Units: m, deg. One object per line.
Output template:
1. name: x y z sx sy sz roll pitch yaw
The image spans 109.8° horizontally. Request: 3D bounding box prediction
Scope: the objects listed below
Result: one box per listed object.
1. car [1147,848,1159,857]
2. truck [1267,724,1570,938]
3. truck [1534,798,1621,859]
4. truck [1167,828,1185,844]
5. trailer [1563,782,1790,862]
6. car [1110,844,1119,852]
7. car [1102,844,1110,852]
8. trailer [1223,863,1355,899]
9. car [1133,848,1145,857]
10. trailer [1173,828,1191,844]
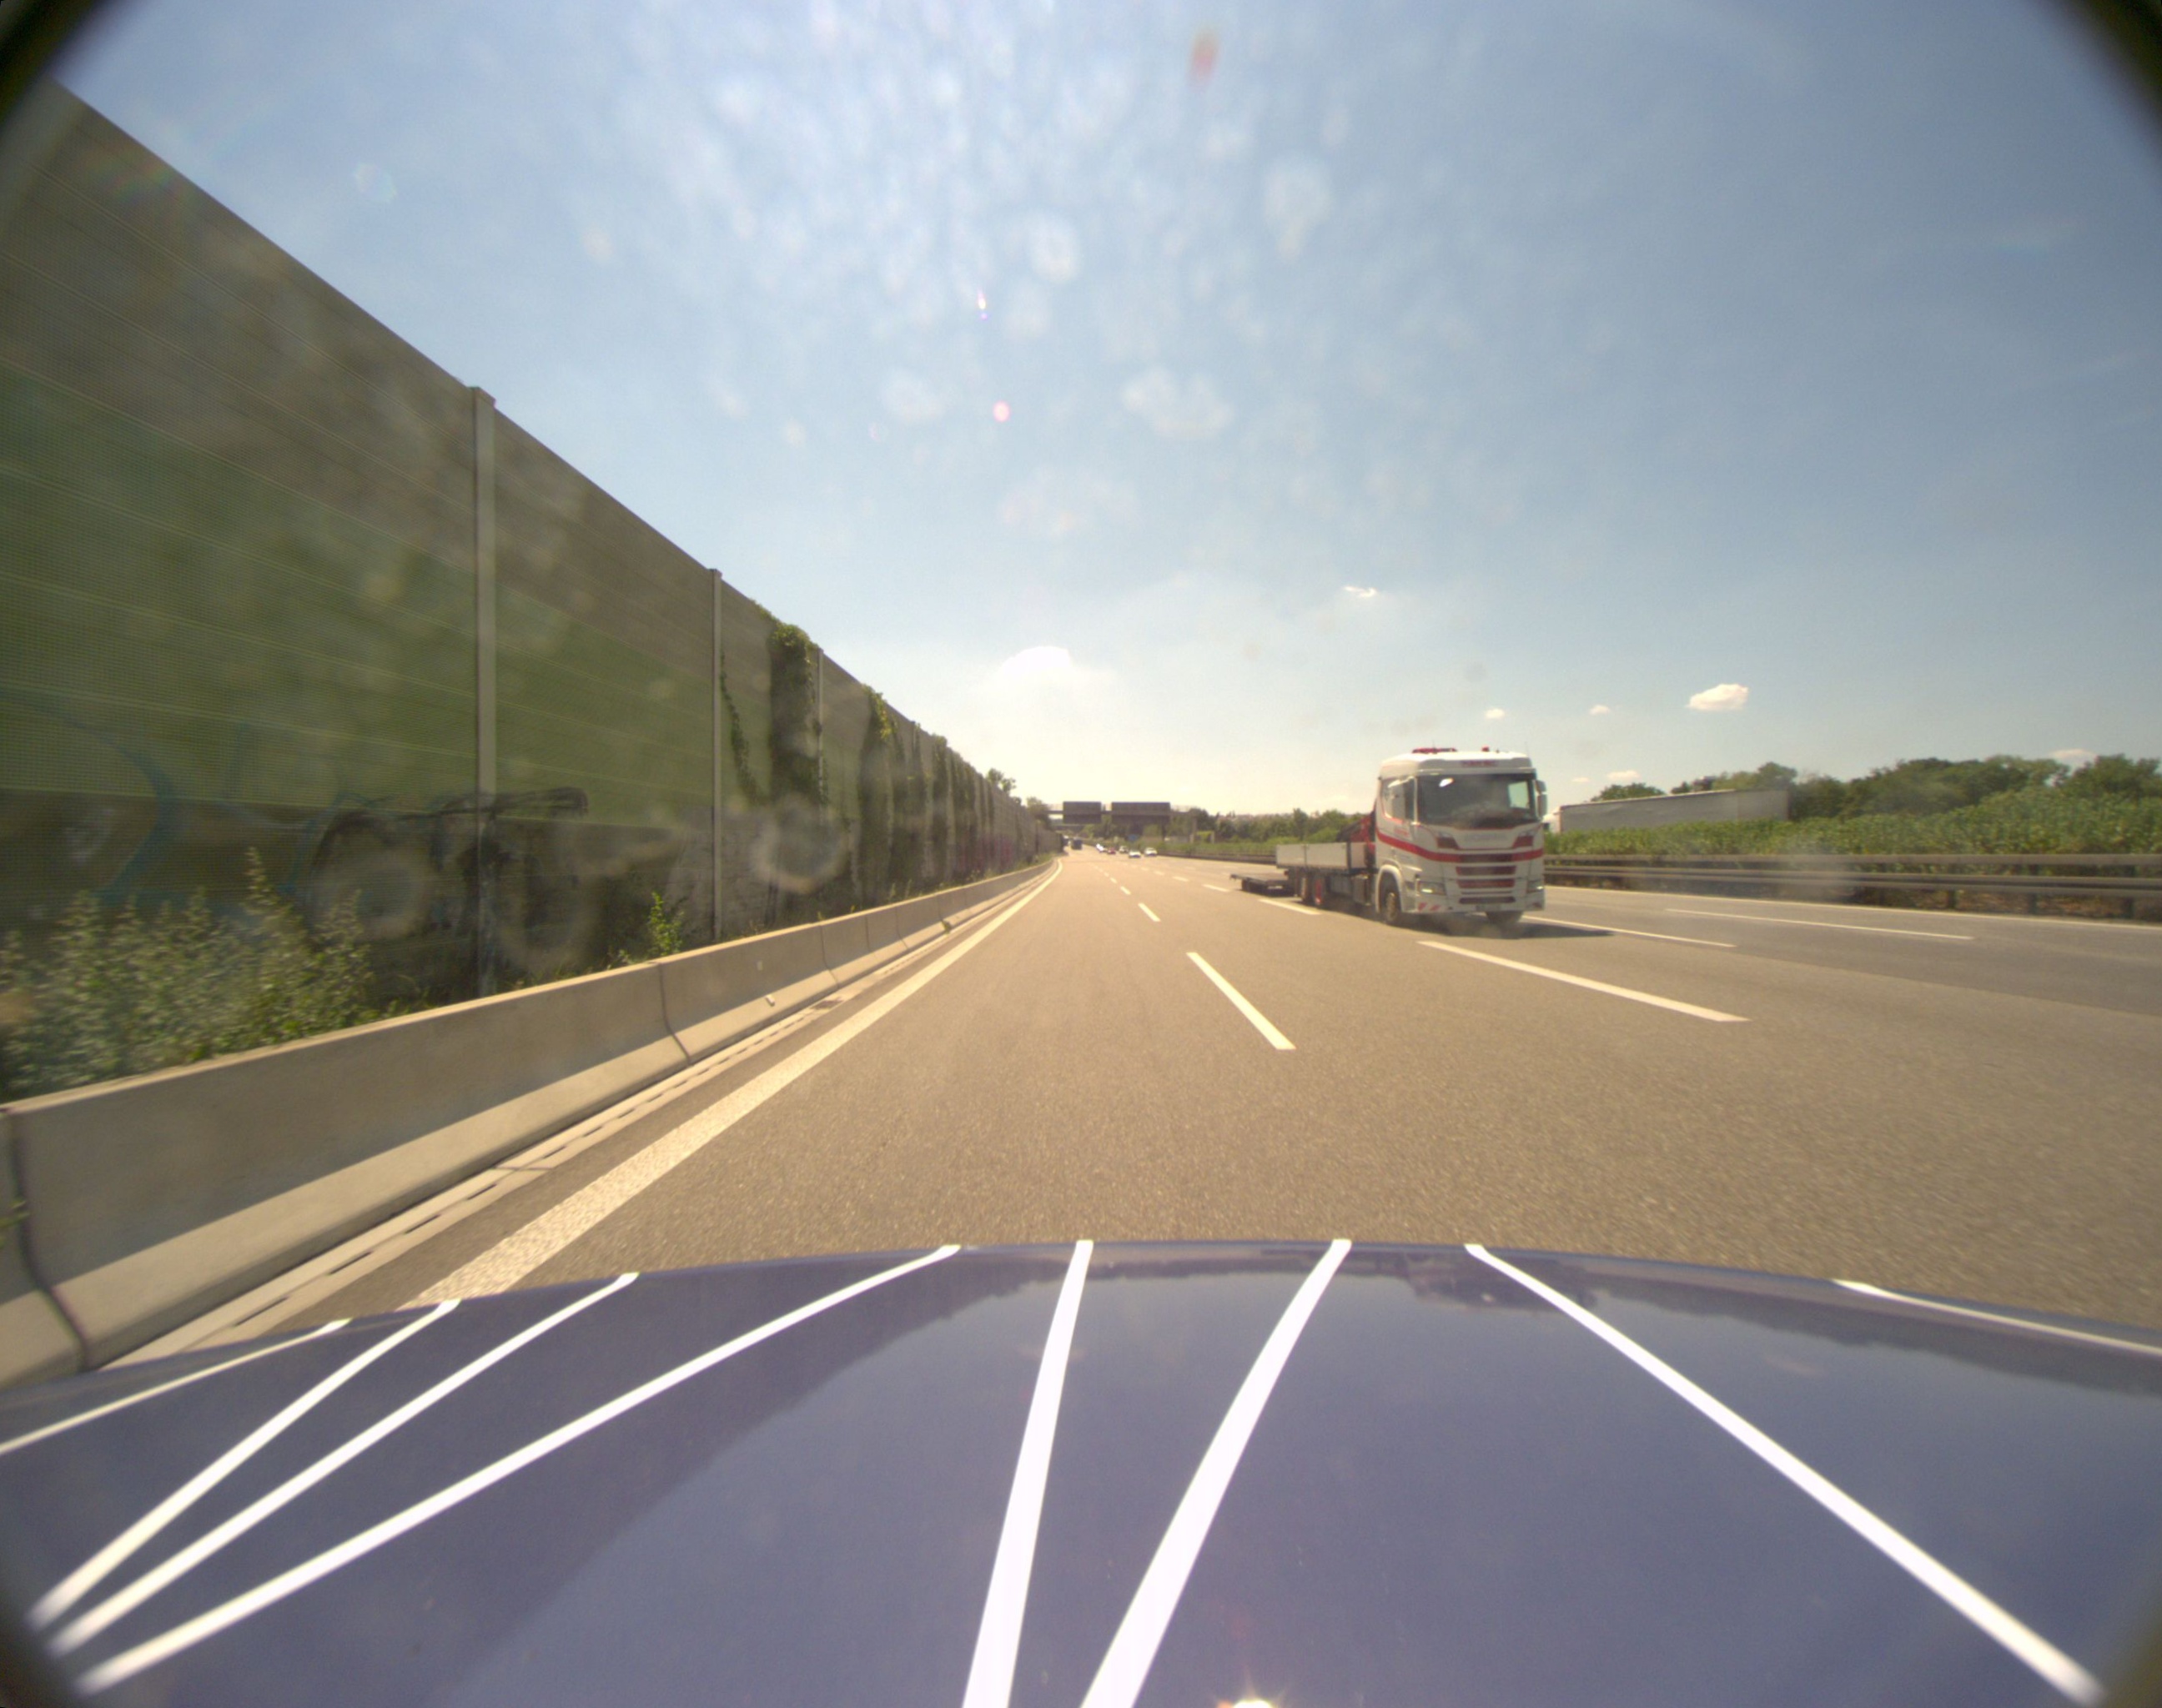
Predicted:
1. car: 13.150 -0.288 139.653 1.883 1.543 4.000 -2 0 1
2. truck: 7.402 -0.438 19.023 2.721 3.780 10.670 -2 0 0
3. truck: 34.098 -1.699 52.386 2.544 3.924 5.166 -2 1 -1
4. truck: 24.997 -4.701 200.931 3.010 3.945 10.317 -2 1 -2
5. trailer: 34.152 -1.650 44.847 2.544 3.924 13.719 -2 0 0
6. car: 7.604 -1.325 172.703 1.998 1.832 4.000 -2 0 1
7. car: 6.433 -1.525 195.318 1.998 1.832 4.000 -2 0 1
8. trailer: 7.388 0.915 28.224 2.721 0.929 7.758 -2 0 0
9. car: 10.016 -0.249 132.170 1.786 1.494 4.171 -1 1 0
10. trailer: 25.330 -4.537 191.481 2.931 3.945 8.655 -2 1 -2
